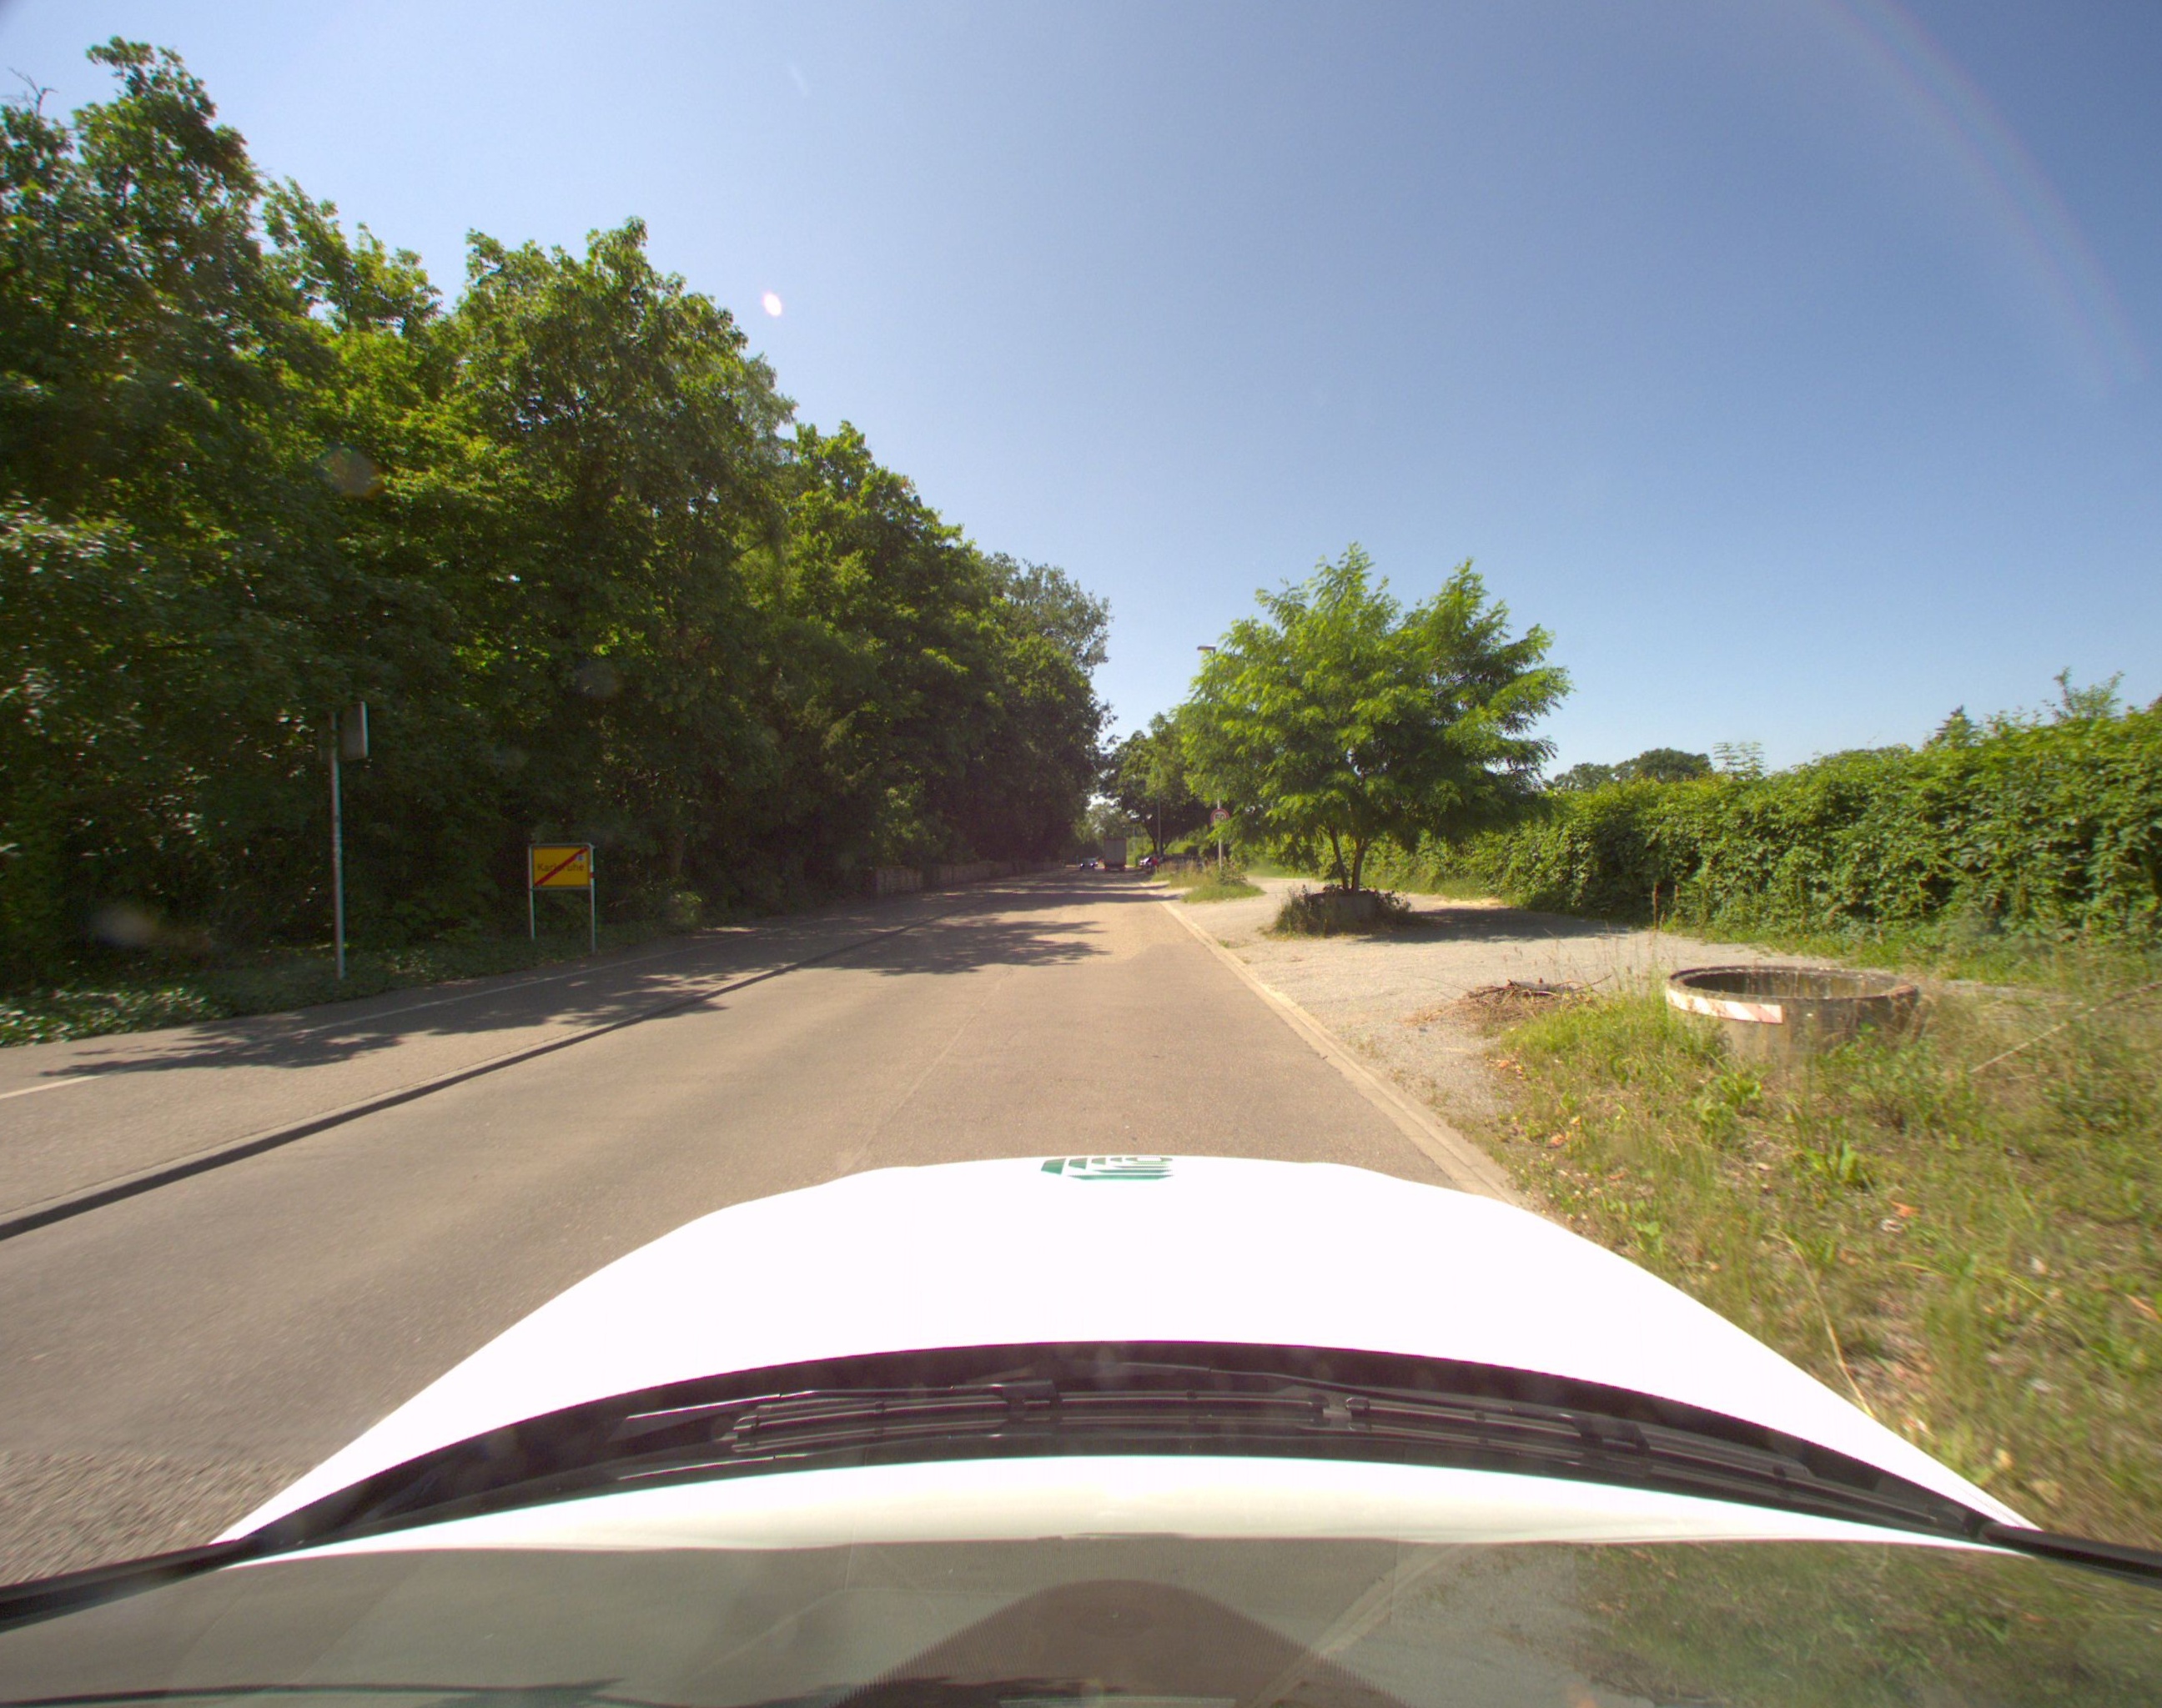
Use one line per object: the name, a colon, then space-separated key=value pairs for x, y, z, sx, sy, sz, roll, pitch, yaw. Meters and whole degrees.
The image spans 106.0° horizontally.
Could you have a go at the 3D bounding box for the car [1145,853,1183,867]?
car: x=9.595 y=0.657 z=94.549 sx=4.179 sy=1.445 sz=1.740 roll=-3 pitch=0 yaw=2

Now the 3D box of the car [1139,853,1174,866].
car: x=9.153 y=0.671 z=98.918 sx=4.179 sy=1.445 sz=1.740 roll=-3 pitch=0 yaw=2

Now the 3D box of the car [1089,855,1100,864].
car: x=2.586 y=1.097 z=158.624 sx=1.986 sy=1.684 sz=4.265 roll=-3 pitch=0 yaw=2

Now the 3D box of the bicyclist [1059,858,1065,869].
bicyclist: x=-2.873 y=1.436 z=123.018 sx=0.829 sy=1.716 sz=0.958 roll=-3 pitch=0 yaw=2

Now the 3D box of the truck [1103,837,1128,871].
truck: x=4.119 y=-0.012 z=97.747 sx=2.722 sy=3.745 sz=13.253 roll=-1 pitch=0 yaw=2

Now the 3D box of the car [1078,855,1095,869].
car: x=0.729 y=0.972 z=103.717 sx=1.986 sy=1.684 sz=4.265 roll=-3 pitch=0 yaw=2

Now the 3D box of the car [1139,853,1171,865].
car: x=10.230 y=0.735 z=112.729 sx=4.179 sy=1.445 sz=1.740 roll=-3 pitch=0 yaw=2

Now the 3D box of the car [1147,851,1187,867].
car: x=9.247 y=0.551 z=88.153 sx=4.179 sy=1.445 sz=1.740 roll=-3 pitch=0 yaw=2

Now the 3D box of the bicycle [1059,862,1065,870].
bicycle: x=-2.864 y=1.823 z=122.997 sx=0.715 sy=1.159 sz=2.232 roll=-3 pitch=0 yaw=3

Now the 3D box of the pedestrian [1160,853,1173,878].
pedestrian: x=6.001 y=0.785 z=56.940 sx=0.736 sy=1.738 sz=0.885 roll=-3 pitch=0 yaw=0

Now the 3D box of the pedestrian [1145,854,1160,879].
pedestrian: x=4.873 y=0.855 z=55.695 sx=0.860 sy=1.677 sz=0.885 roll=-3 pitch=0 yaw=0
